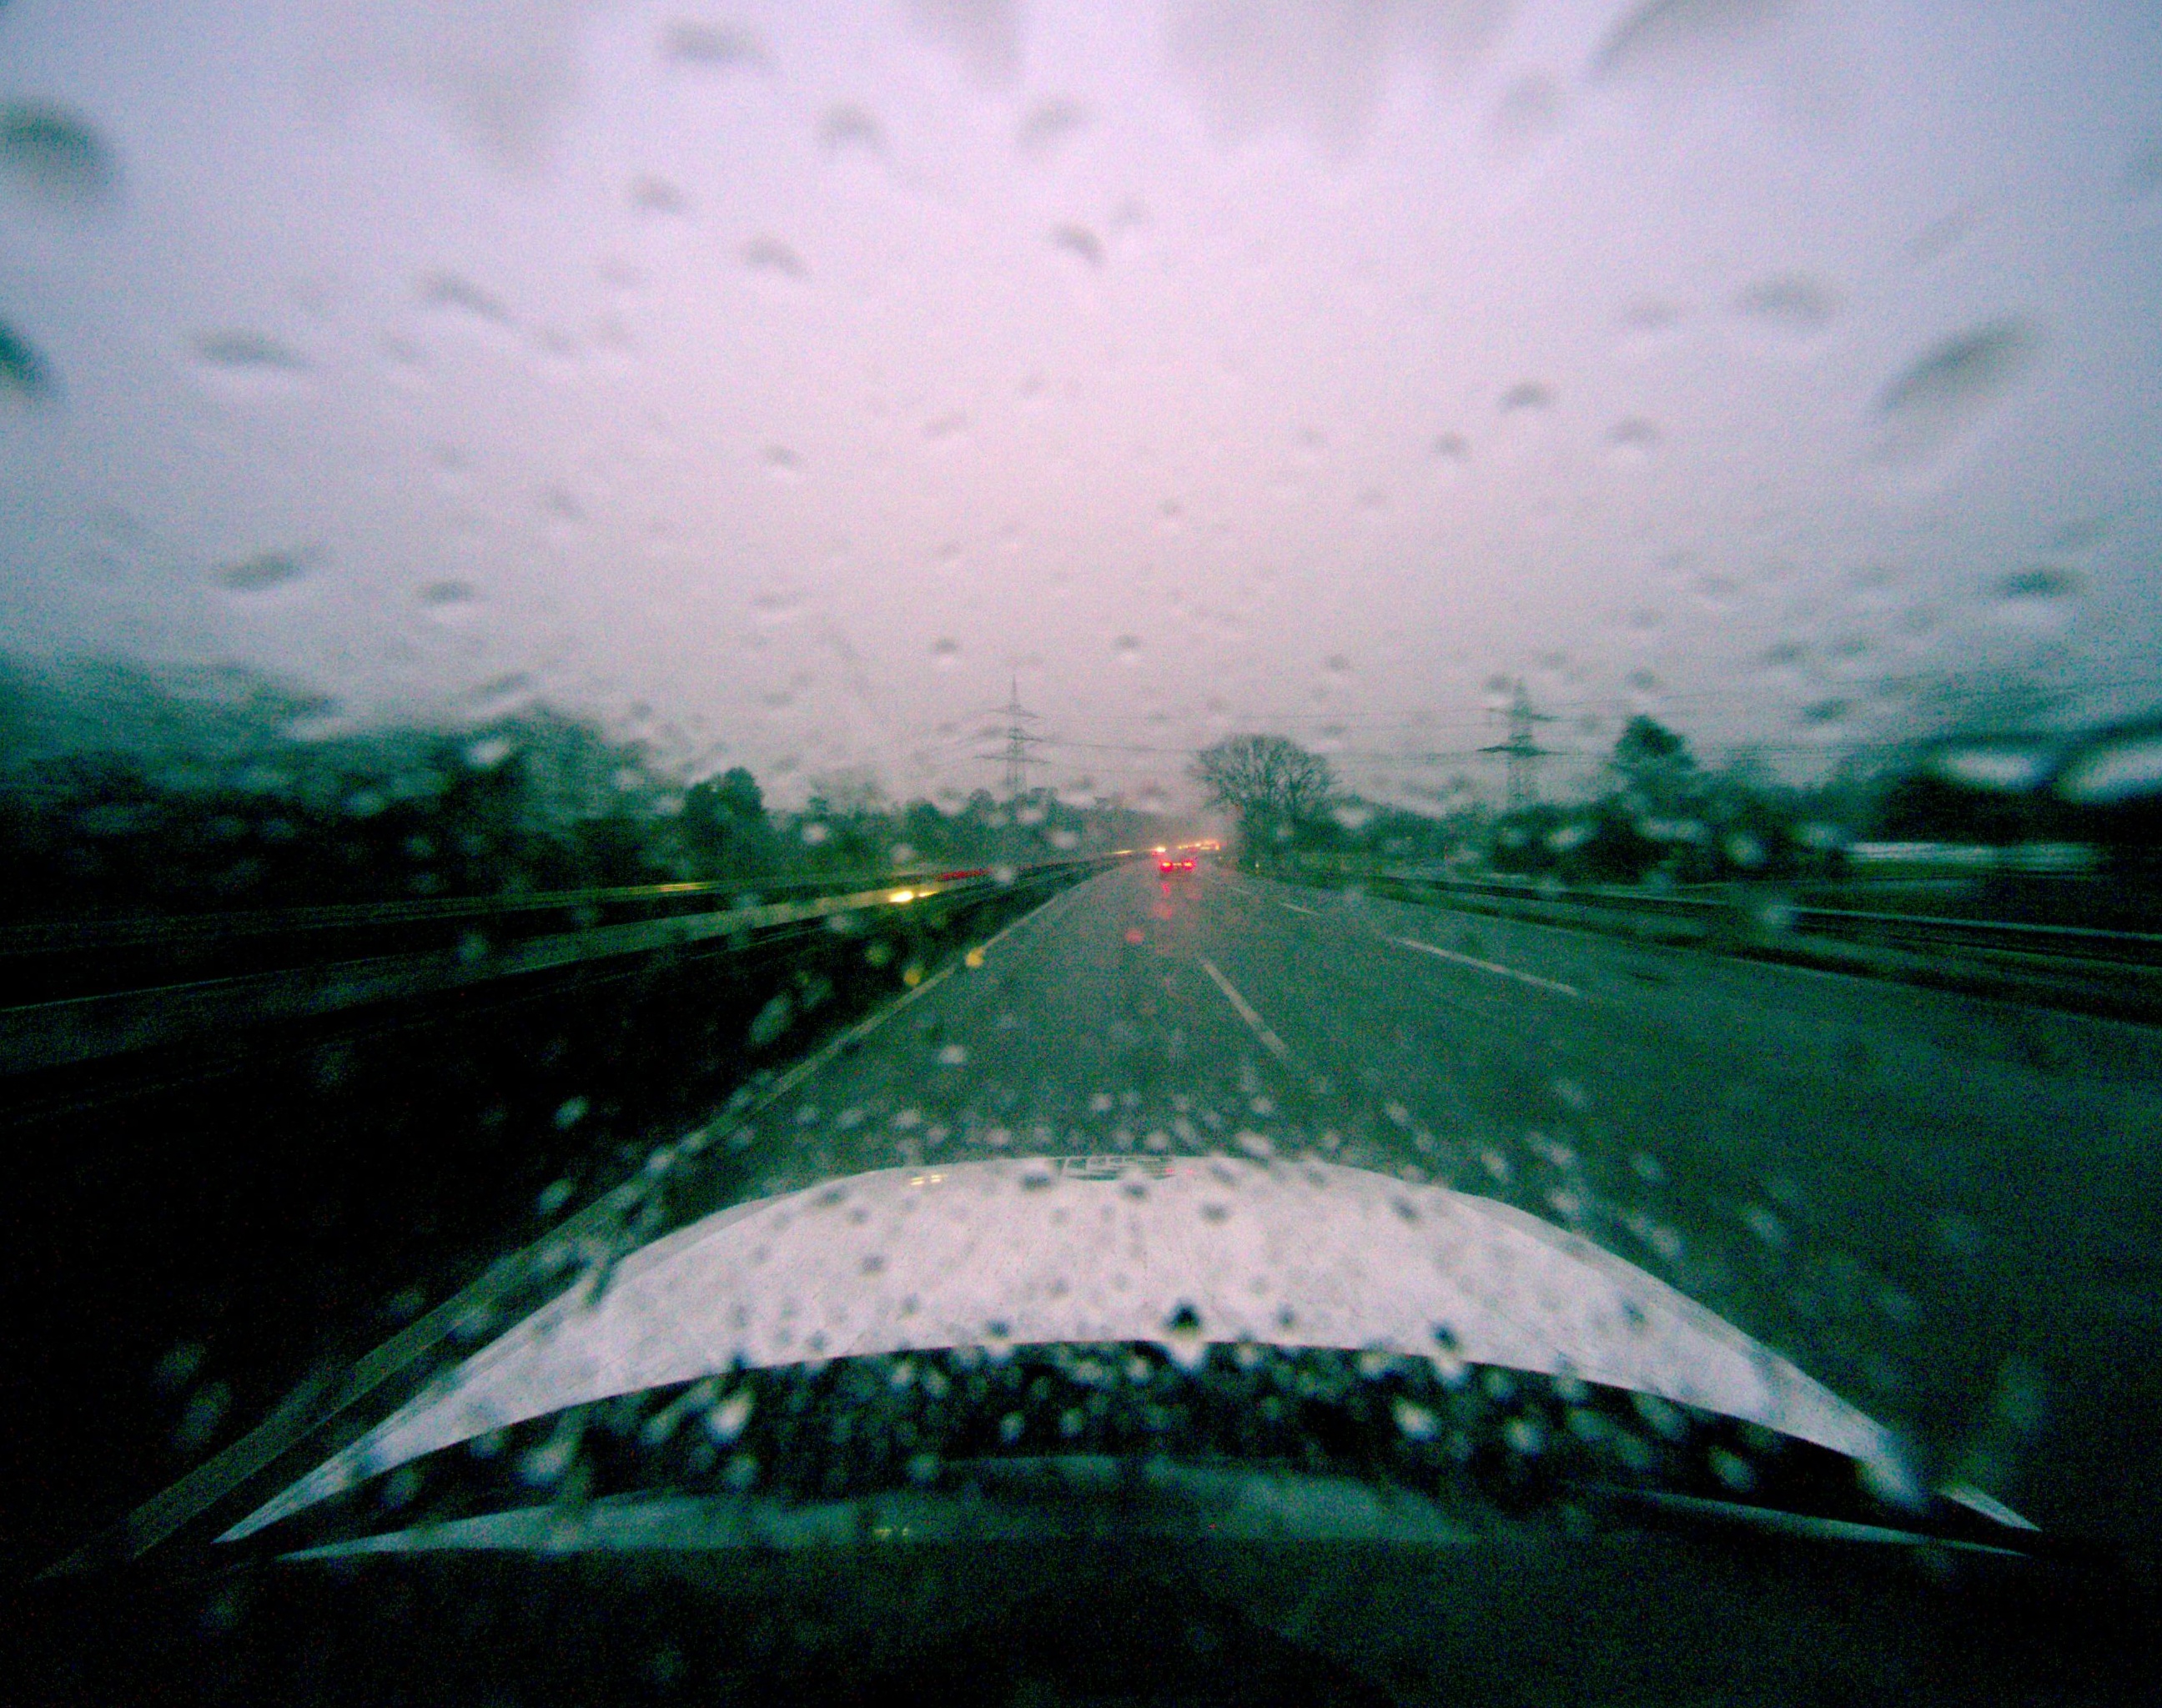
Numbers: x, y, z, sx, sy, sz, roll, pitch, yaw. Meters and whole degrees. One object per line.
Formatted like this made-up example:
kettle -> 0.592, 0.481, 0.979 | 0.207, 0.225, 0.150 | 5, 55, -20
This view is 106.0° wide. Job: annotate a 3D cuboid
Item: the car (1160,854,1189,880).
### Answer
car -> 5.930, 0.766, 51.397 | 1.668, 1.508, 3.818 | -1, 1, 8
